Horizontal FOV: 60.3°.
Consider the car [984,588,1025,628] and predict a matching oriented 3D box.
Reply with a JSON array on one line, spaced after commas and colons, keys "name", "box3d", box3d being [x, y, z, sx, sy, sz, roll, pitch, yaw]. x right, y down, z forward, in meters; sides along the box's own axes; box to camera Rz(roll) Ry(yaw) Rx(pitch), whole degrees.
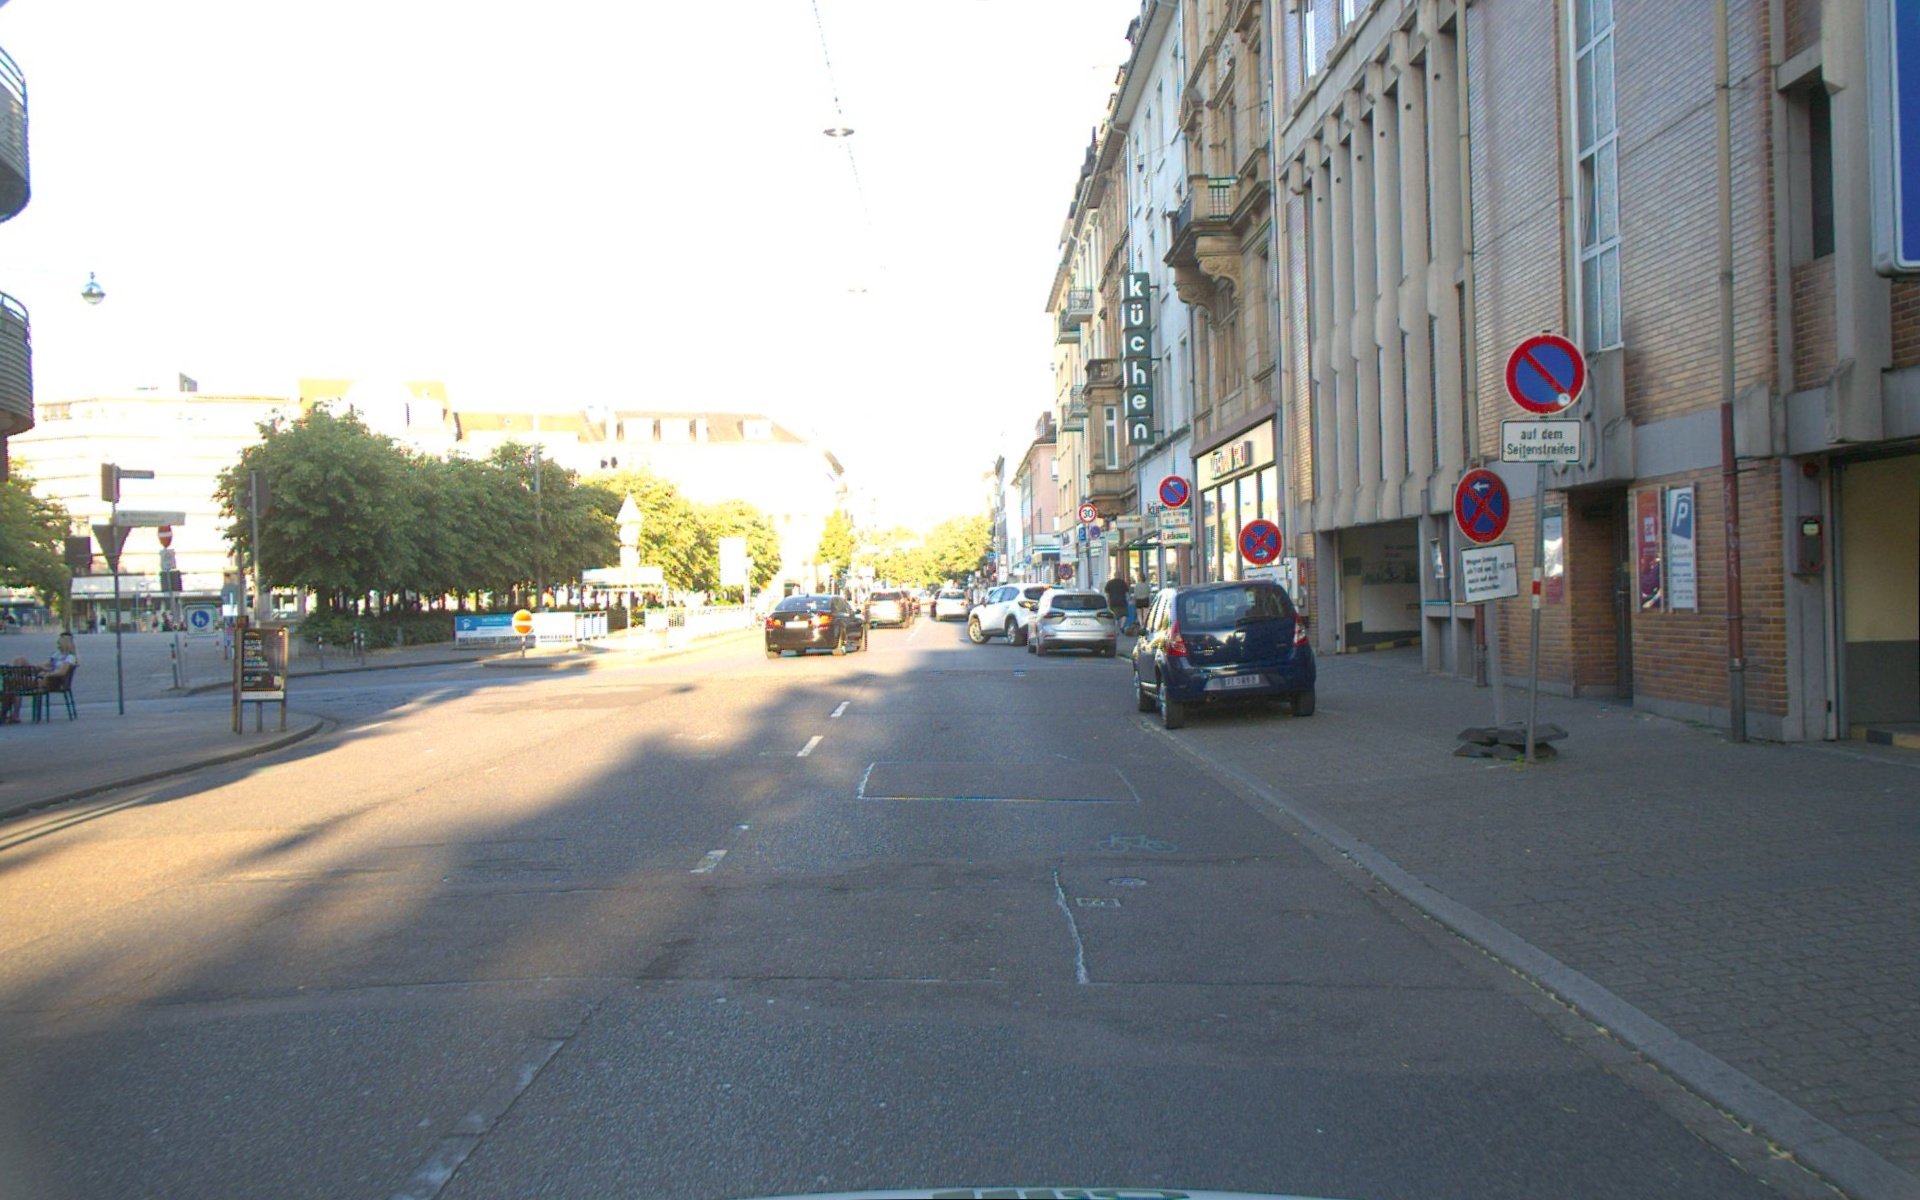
[{"name": "car", "box3d": [1.915, 0.352, 72.063, 1.694, 1.679, 4.284, 0, 0, 0]}]

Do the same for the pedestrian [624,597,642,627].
[{"name": "pedestrian", "box3d": [-17.820, 0.640, 90.082, 0.774, 1.623, 0.568, -1, 0, 19]}]

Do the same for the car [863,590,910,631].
[{"name": "car", "box3d": [-3.136, 0.452, 71.134, 1.858, 1.678, 4.103, -1, 0, -1]}]

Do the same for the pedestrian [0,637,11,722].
[{"name": "pedestrian", "box3d": [-14.681, 1.197, 24.582, 0.708, 1.269, 0.828, -2, -1, -7]}]

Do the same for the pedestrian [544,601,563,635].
[{"name": "pedestrian", "box3d": [-19.976, 0.889, 81.267, 0.663, 1.623, 0.677, -1, 0, 19]}]

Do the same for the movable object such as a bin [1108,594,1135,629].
[{"name": "movable object such as a bin", "box3d": [5.297, 0.363, 54.434, 0.759, 1.089, 0.618, -4, 0, -1]}]

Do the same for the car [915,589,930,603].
[{"name": "car", "box3d": [-4.410, -0.471, 194.357, 1.743, 1.574, 3.999, -1, 0, -1]}]

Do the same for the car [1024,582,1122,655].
[{"name": "car", "box3d": [2.512, 0.409, 37.872, 1.723, 1.563, 4.819, 0, 0, -2]}]

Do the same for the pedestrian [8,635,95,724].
[{"name": "pedestrian", "box3d": [-13.402, 1.162, 24.416, 0.881, 1.263, 0.766, -2, -1, -9]}]

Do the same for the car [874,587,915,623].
[{"name": "car", "box3d": [-3.133, 0.230, 79.370, 1.858, 1.678, 4.103, -1, 0, -1]}]

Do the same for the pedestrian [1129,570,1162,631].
[{"name": "pedestrian", "box3d": [5.512, 0.004, 49.181, 0.757, 1.741, 1.042, -3, 0, -1]}]

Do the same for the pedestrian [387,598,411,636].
[{"name": "pedestrian", "box3d": [-24.008, 0.716, 70.761, 0.774, 1.623, 0.568, -1, 0, 19]}]

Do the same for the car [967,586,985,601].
[{"name": "car", "box3d": [1.811, -0.766, 189.778, 1.858, 1.608, 3.851, -2, 0, -1]}]

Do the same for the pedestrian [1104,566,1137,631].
[{"name": "pedestrian", "box3d": [4.747, -0.054, 49.032, 0.757, 1.859, 1.010, -3, 0, -1]}]

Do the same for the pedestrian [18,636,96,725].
[{"name": "pedestrian", "box3d": [-13.684, 1.215, 25.081, 0.811, 1.295, 0.747, -2, -1, -9]}]

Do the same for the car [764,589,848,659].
[{"name": "car", "box3d": [-3.667, 0.539, 39.897, 1.859, 1.609, 3.997, 0, 0, -3]}]

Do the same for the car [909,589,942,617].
[{"name": "car", "box3d": [-2.064, 0.181, 99.268, 1.858, 1.609, 3.851, 1, 0, -1]}]

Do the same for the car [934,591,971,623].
[{"name": "car", "box3d": [-0.402, 0.338, 85.884, 1.858, 1.609, 3.999, 0, 0, -1]}]

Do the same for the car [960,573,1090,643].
[{"name": "car", "box3d": [1.757, 0.224, 46.377, 1.966, 1.791, 4.435, -2, 0, -22]}]

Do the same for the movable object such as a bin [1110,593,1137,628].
[{"name": "movable object such as a bin", "box3d": [5.313, 0.346, 53.719, 0.759, 1.089, 0.618, -4, 0, -1]}]

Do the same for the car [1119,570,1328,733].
[{"name": "car", "box3d": [2.941, 0.522, 19.261, 1.723, 1.563, 4.000, -5, 0, 0]}]
